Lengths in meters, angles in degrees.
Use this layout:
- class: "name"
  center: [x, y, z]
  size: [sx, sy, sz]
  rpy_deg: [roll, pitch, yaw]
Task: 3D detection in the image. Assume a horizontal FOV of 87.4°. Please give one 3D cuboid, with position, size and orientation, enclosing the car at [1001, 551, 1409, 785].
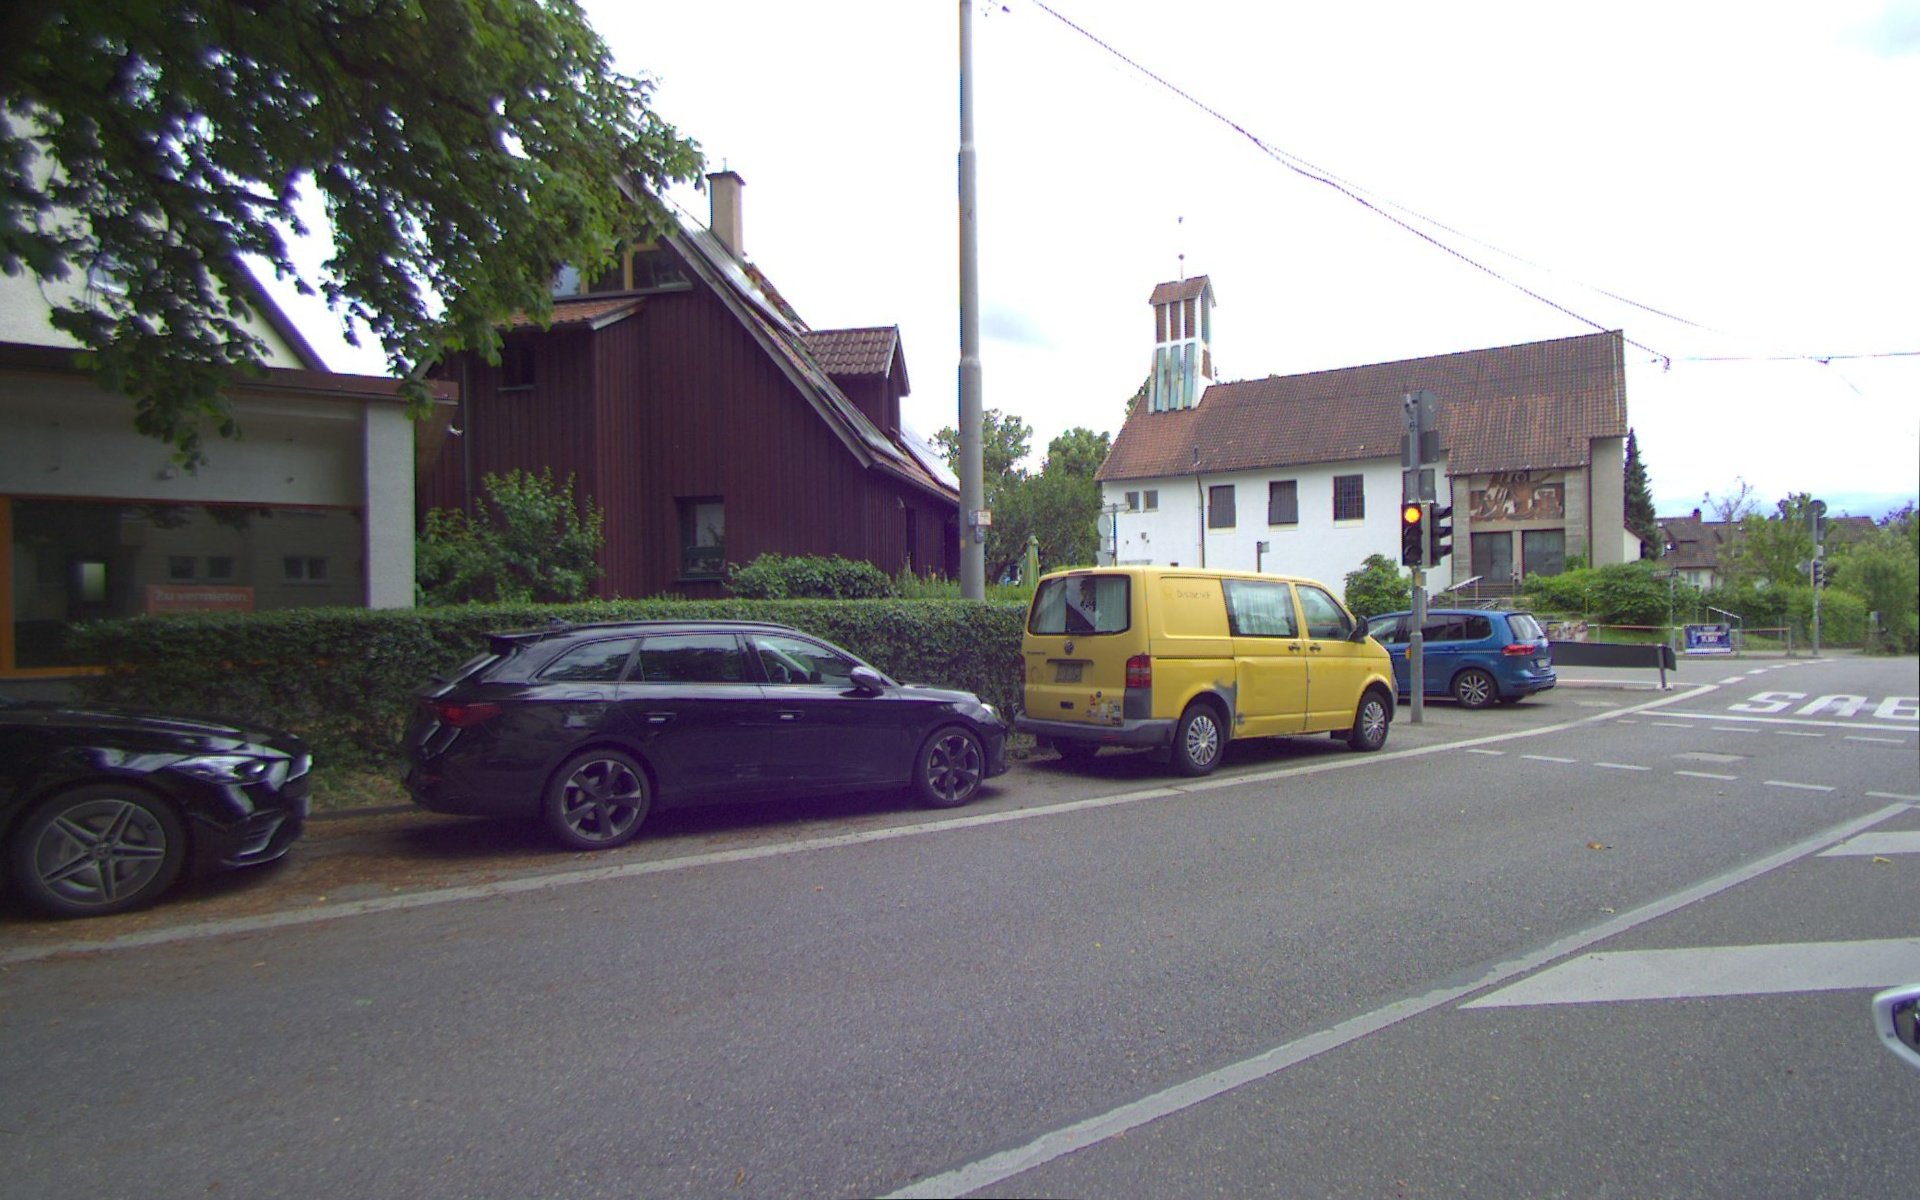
- class: "car"
  center: [2.778, 0.641, 10.876]
  size: [4.523, 2.040, 1.870]
  rpy_deg: [1, -2, -37]

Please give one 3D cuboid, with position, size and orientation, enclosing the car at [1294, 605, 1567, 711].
- class: "car"
  center: [8.121, 0.974, 17.566]
  size: [1.806, 1.632, 3.948]
  rpy_deg: [1, -3, -44]

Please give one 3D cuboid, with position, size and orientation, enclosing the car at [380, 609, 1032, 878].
- class: "car"
  center: [-1.741, 0.845, 7.581]
  size: [4.495, 1.505, 1.681]
  rpy_deg: [1, -2, -34]

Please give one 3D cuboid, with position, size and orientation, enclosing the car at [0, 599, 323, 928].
- class: "car"
  center: [-5.887, 0.769, 4.934]
  size: [4.561, 1.520, 1.984]
  rpy_deg: [1, -2, -31]
